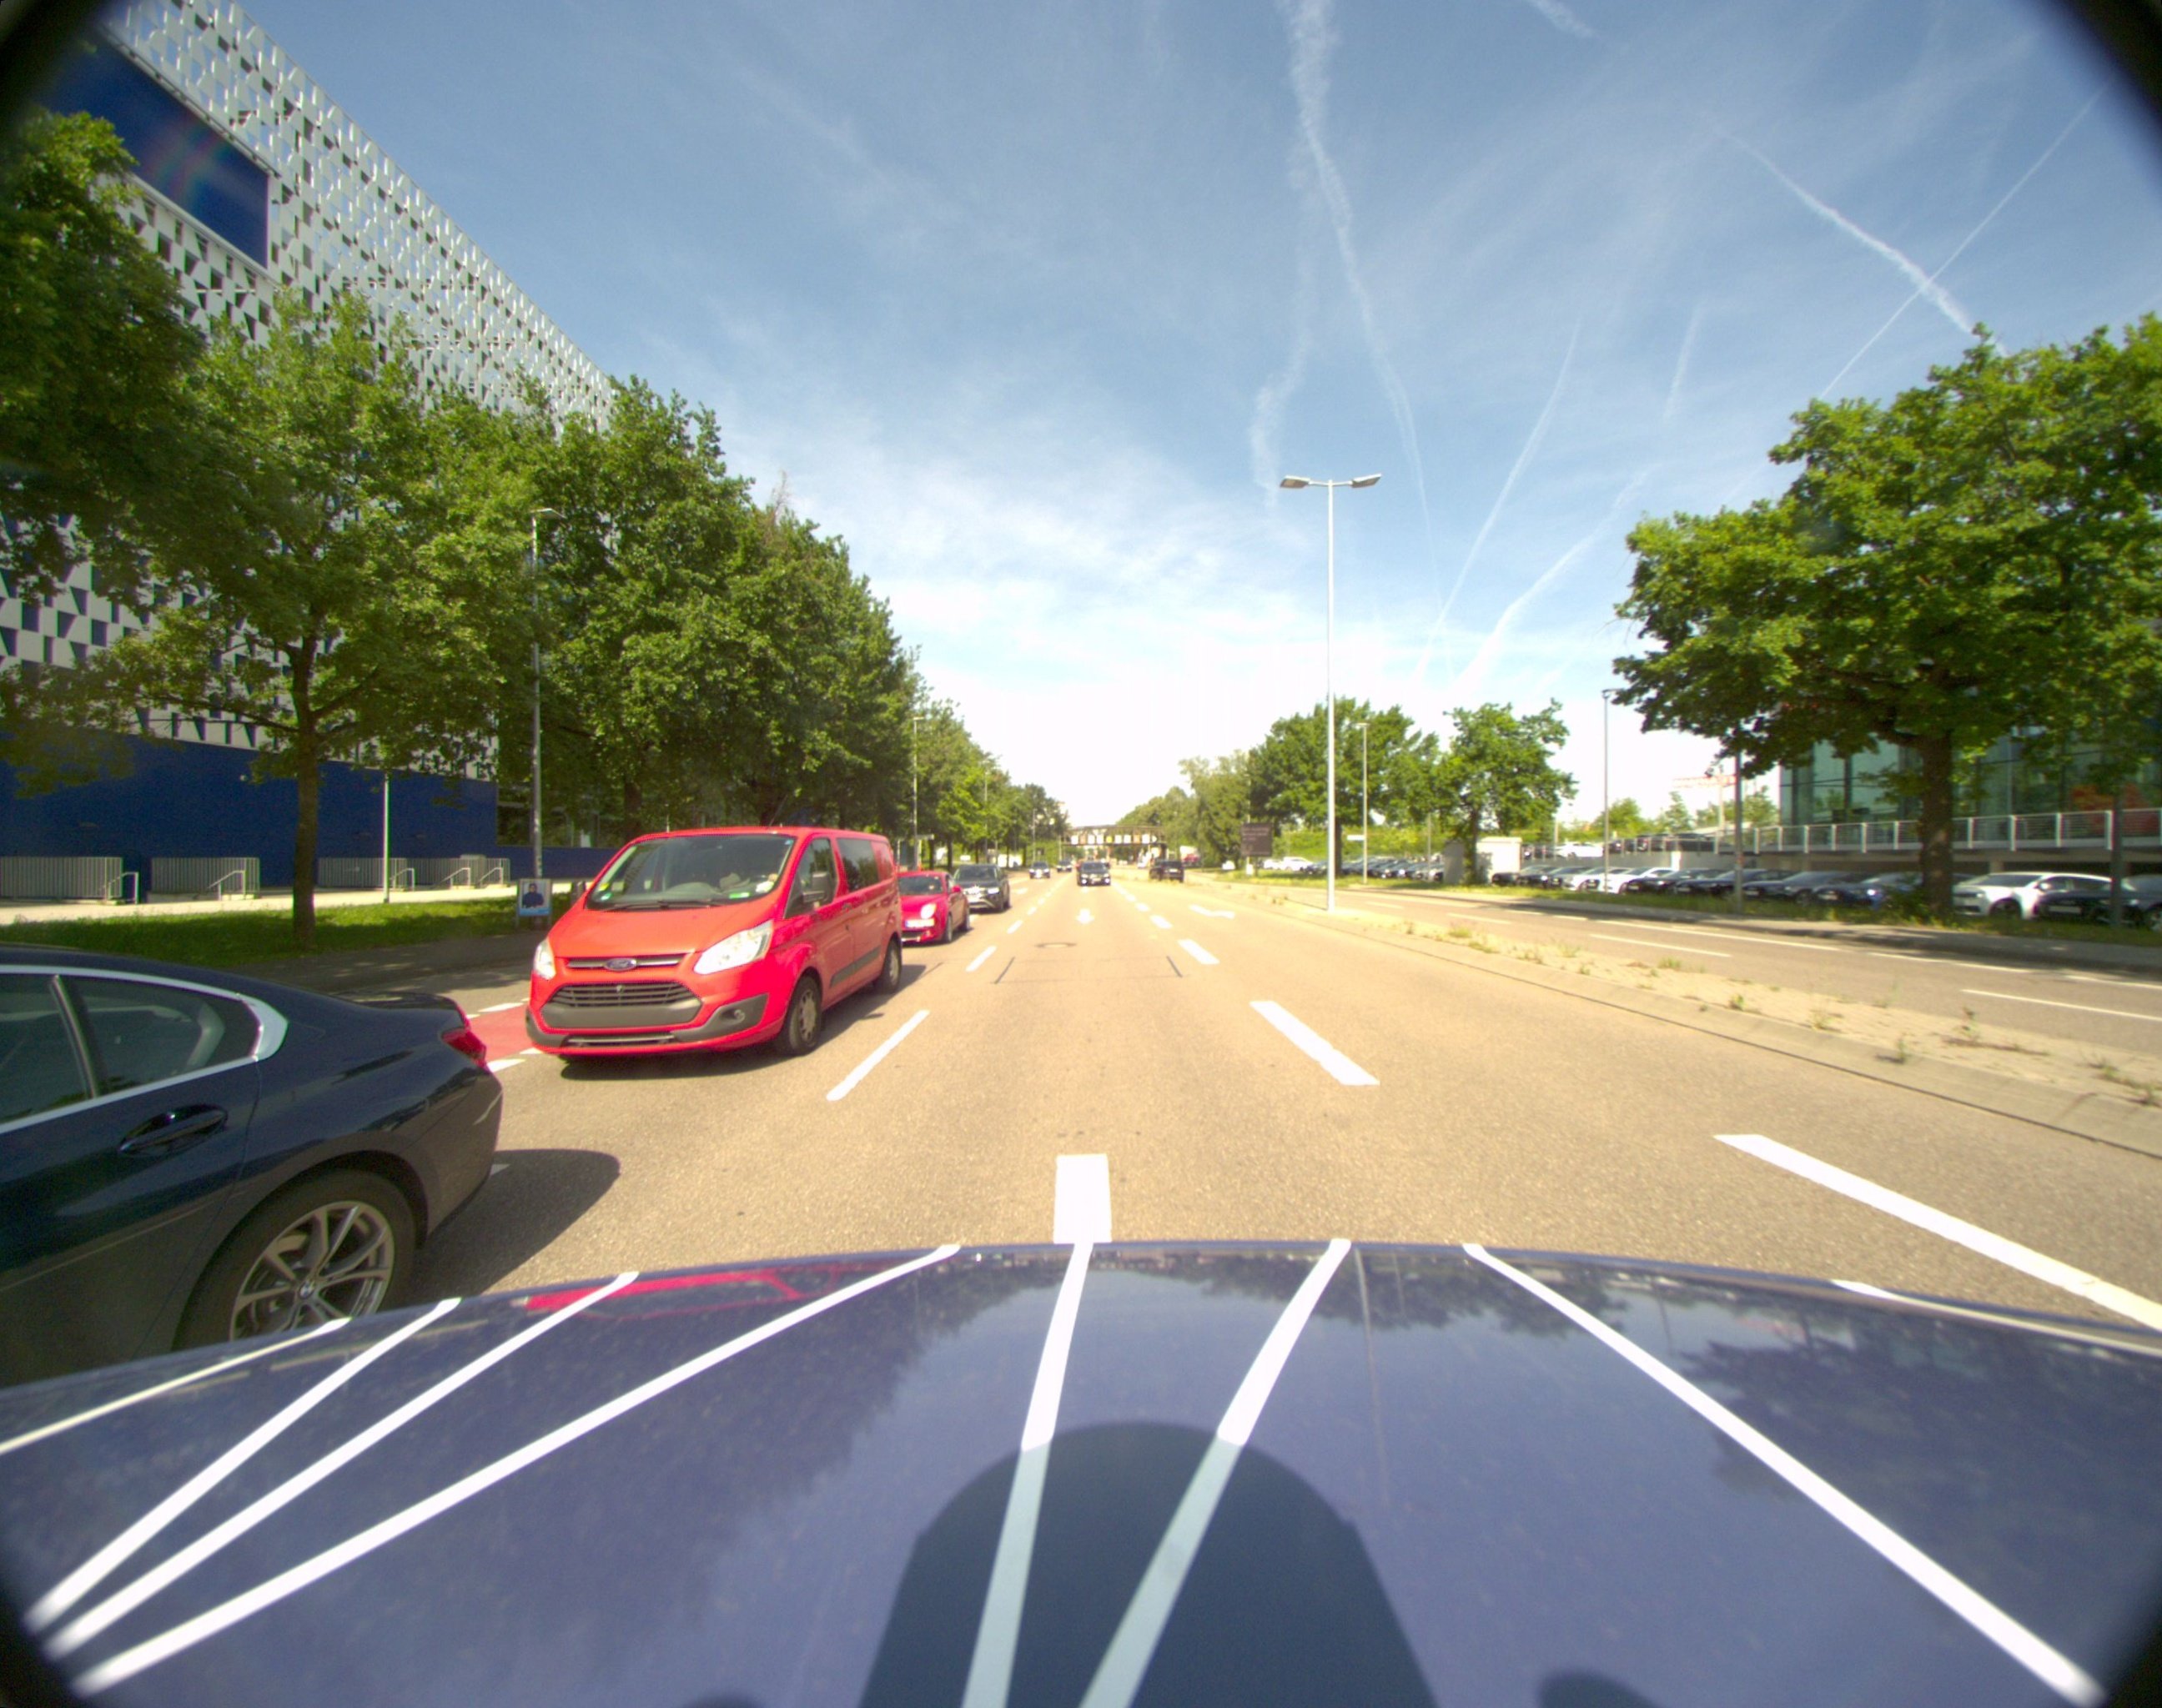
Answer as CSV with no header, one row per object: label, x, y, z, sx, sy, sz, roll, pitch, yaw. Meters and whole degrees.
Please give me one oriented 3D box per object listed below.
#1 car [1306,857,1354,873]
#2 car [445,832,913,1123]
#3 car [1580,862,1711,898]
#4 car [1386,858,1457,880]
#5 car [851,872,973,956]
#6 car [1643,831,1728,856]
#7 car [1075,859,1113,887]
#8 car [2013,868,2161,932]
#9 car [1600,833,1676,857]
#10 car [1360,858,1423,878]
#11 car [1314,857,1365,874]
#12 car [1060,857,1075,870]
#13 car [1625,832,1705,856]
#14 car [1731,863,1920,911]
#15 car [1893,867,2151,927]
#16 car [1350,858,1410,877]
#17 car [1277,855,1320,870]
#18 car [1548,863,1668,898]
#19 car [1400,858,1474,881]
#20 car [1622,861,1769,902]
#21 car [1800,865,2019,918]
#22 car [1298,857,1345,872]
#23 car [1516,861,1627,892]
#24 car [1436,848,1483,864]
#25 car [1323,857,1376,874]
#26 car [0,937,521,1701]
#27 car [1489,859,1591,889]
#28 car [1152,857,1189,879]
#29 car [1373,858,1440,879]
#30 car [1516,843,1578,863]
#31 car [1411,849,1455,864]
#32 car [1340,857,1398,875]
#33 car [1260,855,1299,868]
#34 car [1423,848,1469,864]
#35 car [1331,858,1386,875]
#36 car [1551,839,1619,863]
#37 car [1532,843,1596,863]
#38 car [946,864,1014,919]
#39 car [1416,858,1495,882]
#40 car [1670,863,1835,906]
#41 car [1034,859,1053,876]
car,24.604,1.068,75.110,4.196,1.315,1.690,3,0,2
car,-3.232,0.840,7.510,2.014,1.896,4.810,-2,0,0
car,23.660,1.079,31.950,4.196,1.248,1.690,3,0,2
car,24.101,1.046,53.822,4.196,1.315,1.690,3,0,2
car,-3.354,1.140,15.788,1.692,1.414,3.915,-1,0,-1
car,39.869,-0.699,50.188,4.196,1.397,1.690,3,0,2
car,0.731,1.113,45.939,1.883,1.513,4.867,-2,0,-3
car,23.393,1.039,16.452,4.196,1.239,1.690,3,0,2
car,40.672,-0.643,55.543,4.196,1.490,1.690,3,0,2
car,24.210,1.063,59.295,4.196,1.315,1.690,3,0,2
car,24.671,1.091,72.609,4.196,1.315,1.690,3,0,2
car,-1.735,1.216,98.089,1.848,1.530,4.000,0,0,0
car,40.552,-0.679,52.810,4.196,1.490,1.690,3,0,2
car,23.332,1.011,23.930,4.196,1.247,1.690,3,0,2
car,23.312,1.033,18.950,4.196,1.188,1.690,3,0,2
car,24.315,1.049,61.825,4.196,1.315,1.690,3,0,2
car,23.821,0.938,83.344,4.196,1.490,1.690,3,0,2
car,23.754,1.178,34.355,4.196,1.317,1.690,3,0,2
car,24.149,1.047,51.606,4.196,1.315,1.690,3,0,2
car,23.586,1.031,29.262,4.196,1.291,1.690,3,0,2
car,23.215,1.031,21.406,4.196,1.198,1.690,3,0,2
car,24.654,1.033,77.900,4.196,1.315,1.690,3,0,2
car,23.785,1.075,36.955,4.196,1.239,1.690,3,0,2
car,40.544,0.211,81.430,4.196,1.490,1.690,3,0,2
car,24.727,1.056,70.062,4.196,1.315,1.690,3,0,2
car,-3.138,1.047,0.741,1.800,1.420,4.538,-1,0,0
car,23.754,1.041,39.424,4.196,1.315,1.690,3,0,2
car,6.251,0.952,53.692,1.867,1.503,3.999,1,0,-4
car,24.257,1.072,56.716,4.196,1.315,1.690,3,0,2
car,40.263,-0.047,65.728,4.196,1.490,1.690,3,0,2
car,40.536,0.263,87.529,4.196,1.490,1.690,3,0,2
car,24.552,1.047,64.840,4.196,1.315,1.690,3,0,2
car,23.812,0.928,91.130,4.196,1.370,1.690,3,0,2
car,40.319,0.223,83.975,4.196,1.490,1.690,3,0,2
car,24.559,1.073,67.377,4.196,1.315,1.690,3,0,2
car,40.235,-0.219,60.734,4.196,1.722,1.690,3,0,2
car,40.256,-0.067,63.393,4.196,1.490,1.690,3,0,2
car,-3.163,1.134,24.562,1.649,1.530,4.000,-3,0,-1
car,24.117,1.024,49.060,4.196,1.315,1.690,3,0,2
car,23.437,1.038,26.626,4.196,1.252,1.690,3,0,2
car,-3.432,1.257,70.178,1.649,1.453,4.000,-2,0,-1
